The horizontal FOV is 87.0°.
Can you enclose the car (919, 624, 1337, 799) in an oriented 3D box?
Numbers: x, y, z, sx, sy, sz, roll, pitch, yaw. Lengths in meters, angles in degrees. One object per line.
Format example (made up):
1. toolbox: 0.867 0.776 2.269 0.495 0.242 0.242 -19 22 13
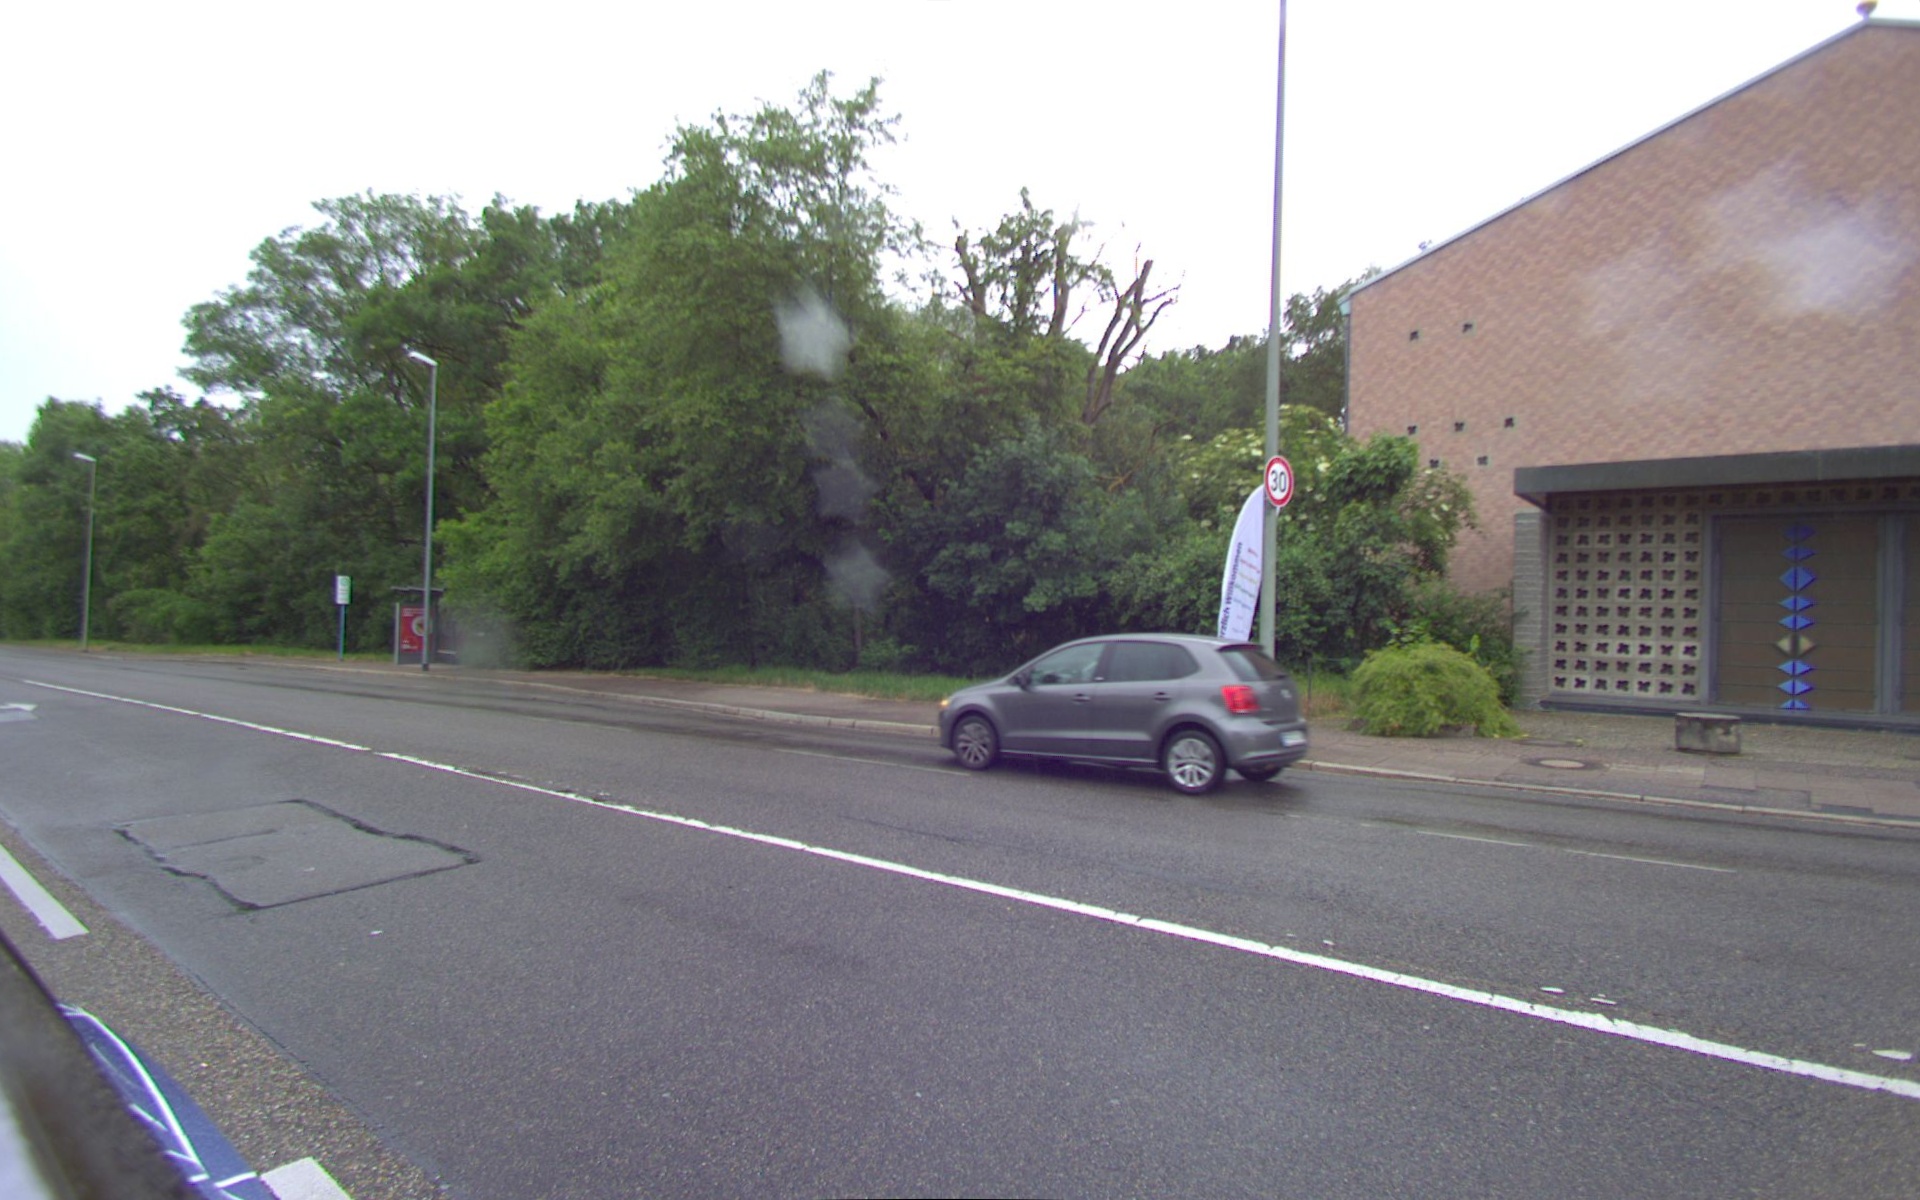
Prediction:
1. car: 1.570 0.987 10.209 3.901 1.440 1.578 -1 -3 39
